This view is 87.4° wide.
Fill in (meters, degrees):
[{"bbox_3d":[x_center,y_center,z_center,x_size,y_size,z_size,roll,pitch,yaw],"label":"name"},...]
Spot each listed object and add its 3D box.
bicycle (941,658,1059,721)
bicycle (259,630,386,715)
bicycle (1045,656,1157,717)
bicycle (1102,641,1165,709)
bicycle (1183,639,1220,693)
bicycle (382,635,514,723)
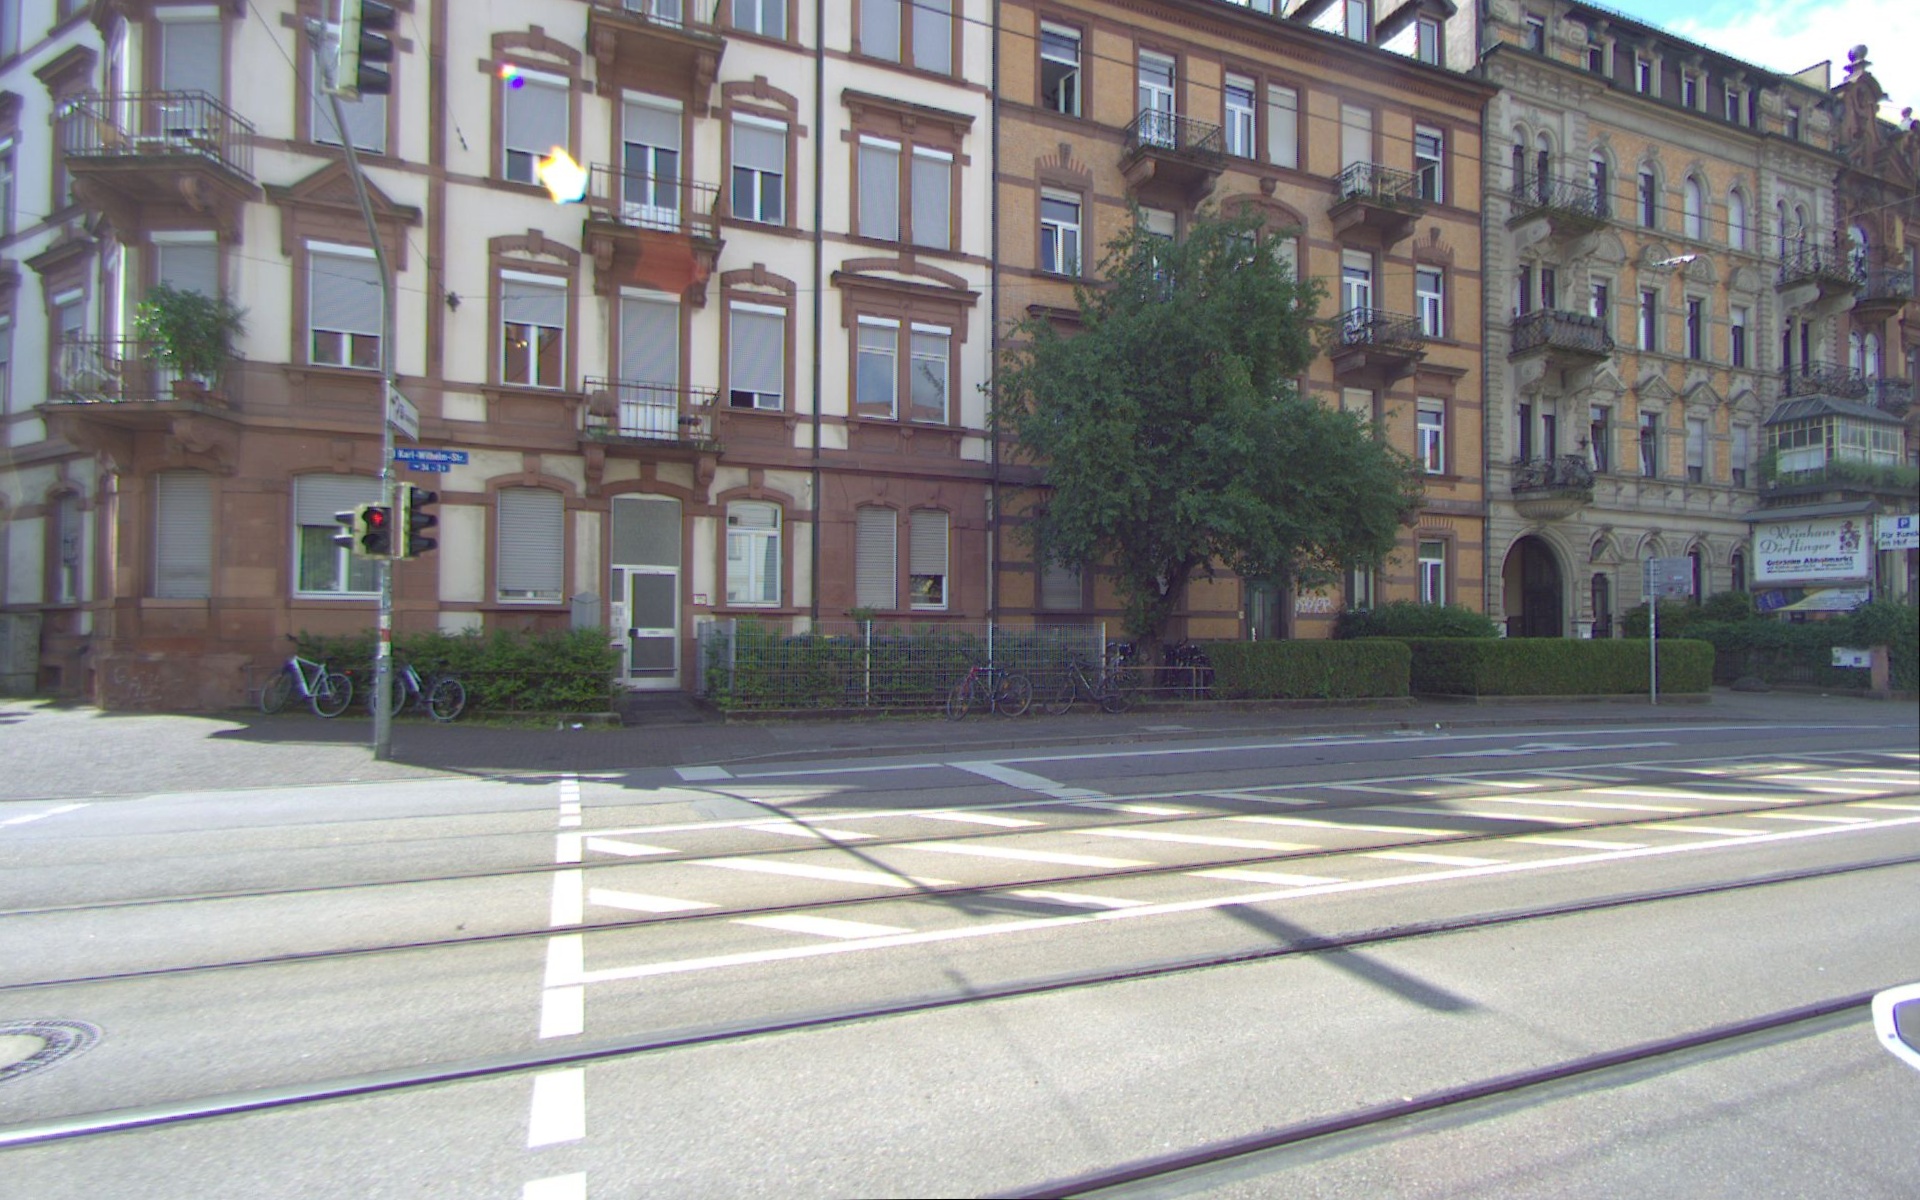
[{"bbox_3d":[0.636,1.398,15.955,1.797,0.944,0.558,1,-2,-20],"label":"bicycle"},{"bbox_3d":[-9.800,1.093,15.431,1.915,1.241,0.483,0,-2,16],"label":"bicycle"},{"bbox_3d":[2.330,1.408,16.581,1.797,0.944,0.558,1,-2,-20],"label":"bicycle"},{"bbox_3d":[3.066,1.315,17.842,0.490,1.146,1.302,1,-2,-23],"label":"bicycle"},{"bbox_3d":[5.378,1.450,22.396,0.487,1.146,1.309,0,-2,-1],"label":"bicycle"},{"bbox_3d":[-7.549,1.141,14.804,1.915,1.241,0.483,0,-2,16],"label":"bicycle"}]
